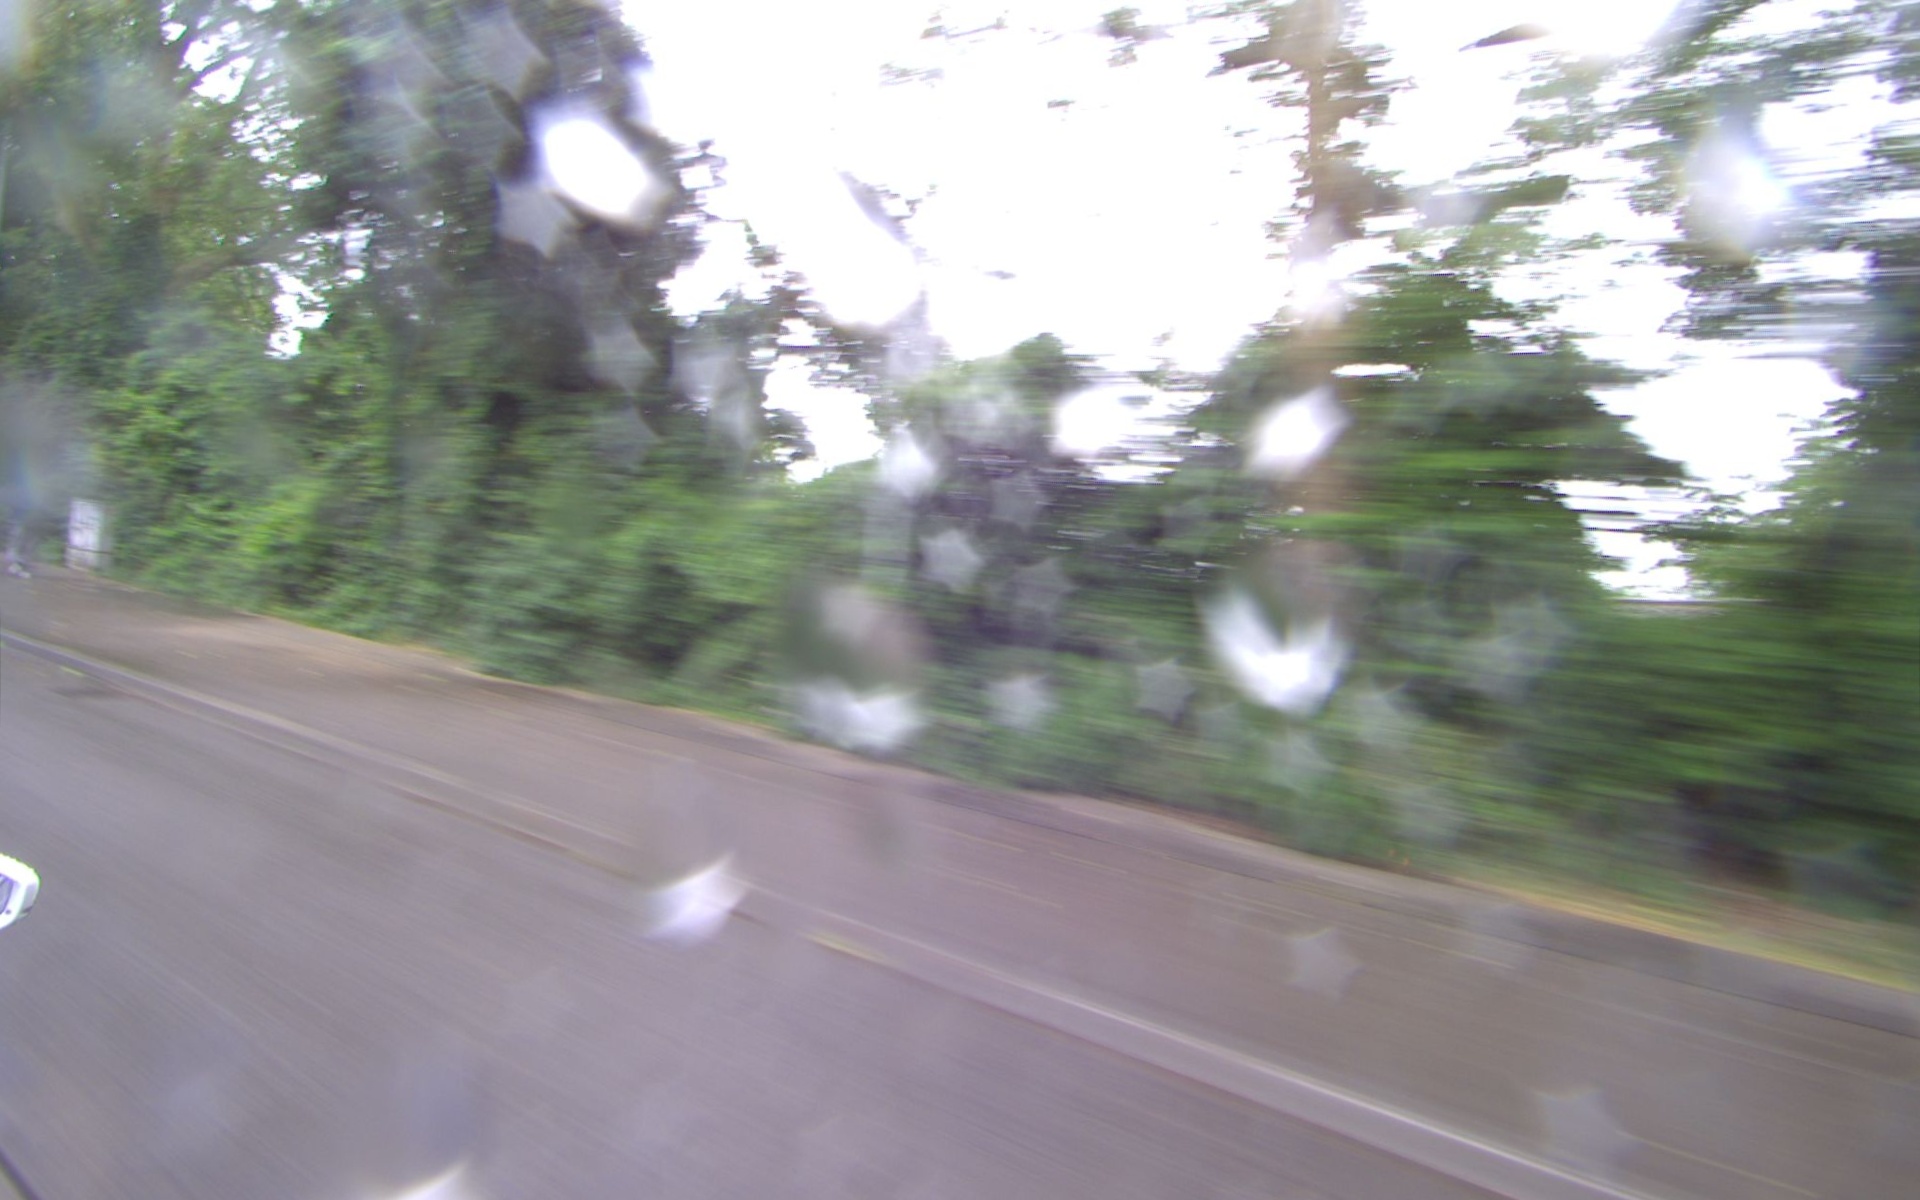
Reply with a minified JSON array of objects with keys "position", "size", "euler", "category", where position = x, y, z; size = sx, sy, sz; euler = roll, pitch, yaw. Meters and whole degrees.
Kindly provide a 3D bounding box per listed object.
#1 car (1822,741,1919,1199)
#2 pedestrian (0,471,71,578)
[{"position":[3.501,1.224,0.480],"size":[4.345,1.547,1.822],"euler":[7,-2,29],"category":"car"},{"position":[-16.542,-1.343,17.671],"size":[1.121,1.723,0.968],"euler":[7,1,31],"category":"pedestrian"}]
